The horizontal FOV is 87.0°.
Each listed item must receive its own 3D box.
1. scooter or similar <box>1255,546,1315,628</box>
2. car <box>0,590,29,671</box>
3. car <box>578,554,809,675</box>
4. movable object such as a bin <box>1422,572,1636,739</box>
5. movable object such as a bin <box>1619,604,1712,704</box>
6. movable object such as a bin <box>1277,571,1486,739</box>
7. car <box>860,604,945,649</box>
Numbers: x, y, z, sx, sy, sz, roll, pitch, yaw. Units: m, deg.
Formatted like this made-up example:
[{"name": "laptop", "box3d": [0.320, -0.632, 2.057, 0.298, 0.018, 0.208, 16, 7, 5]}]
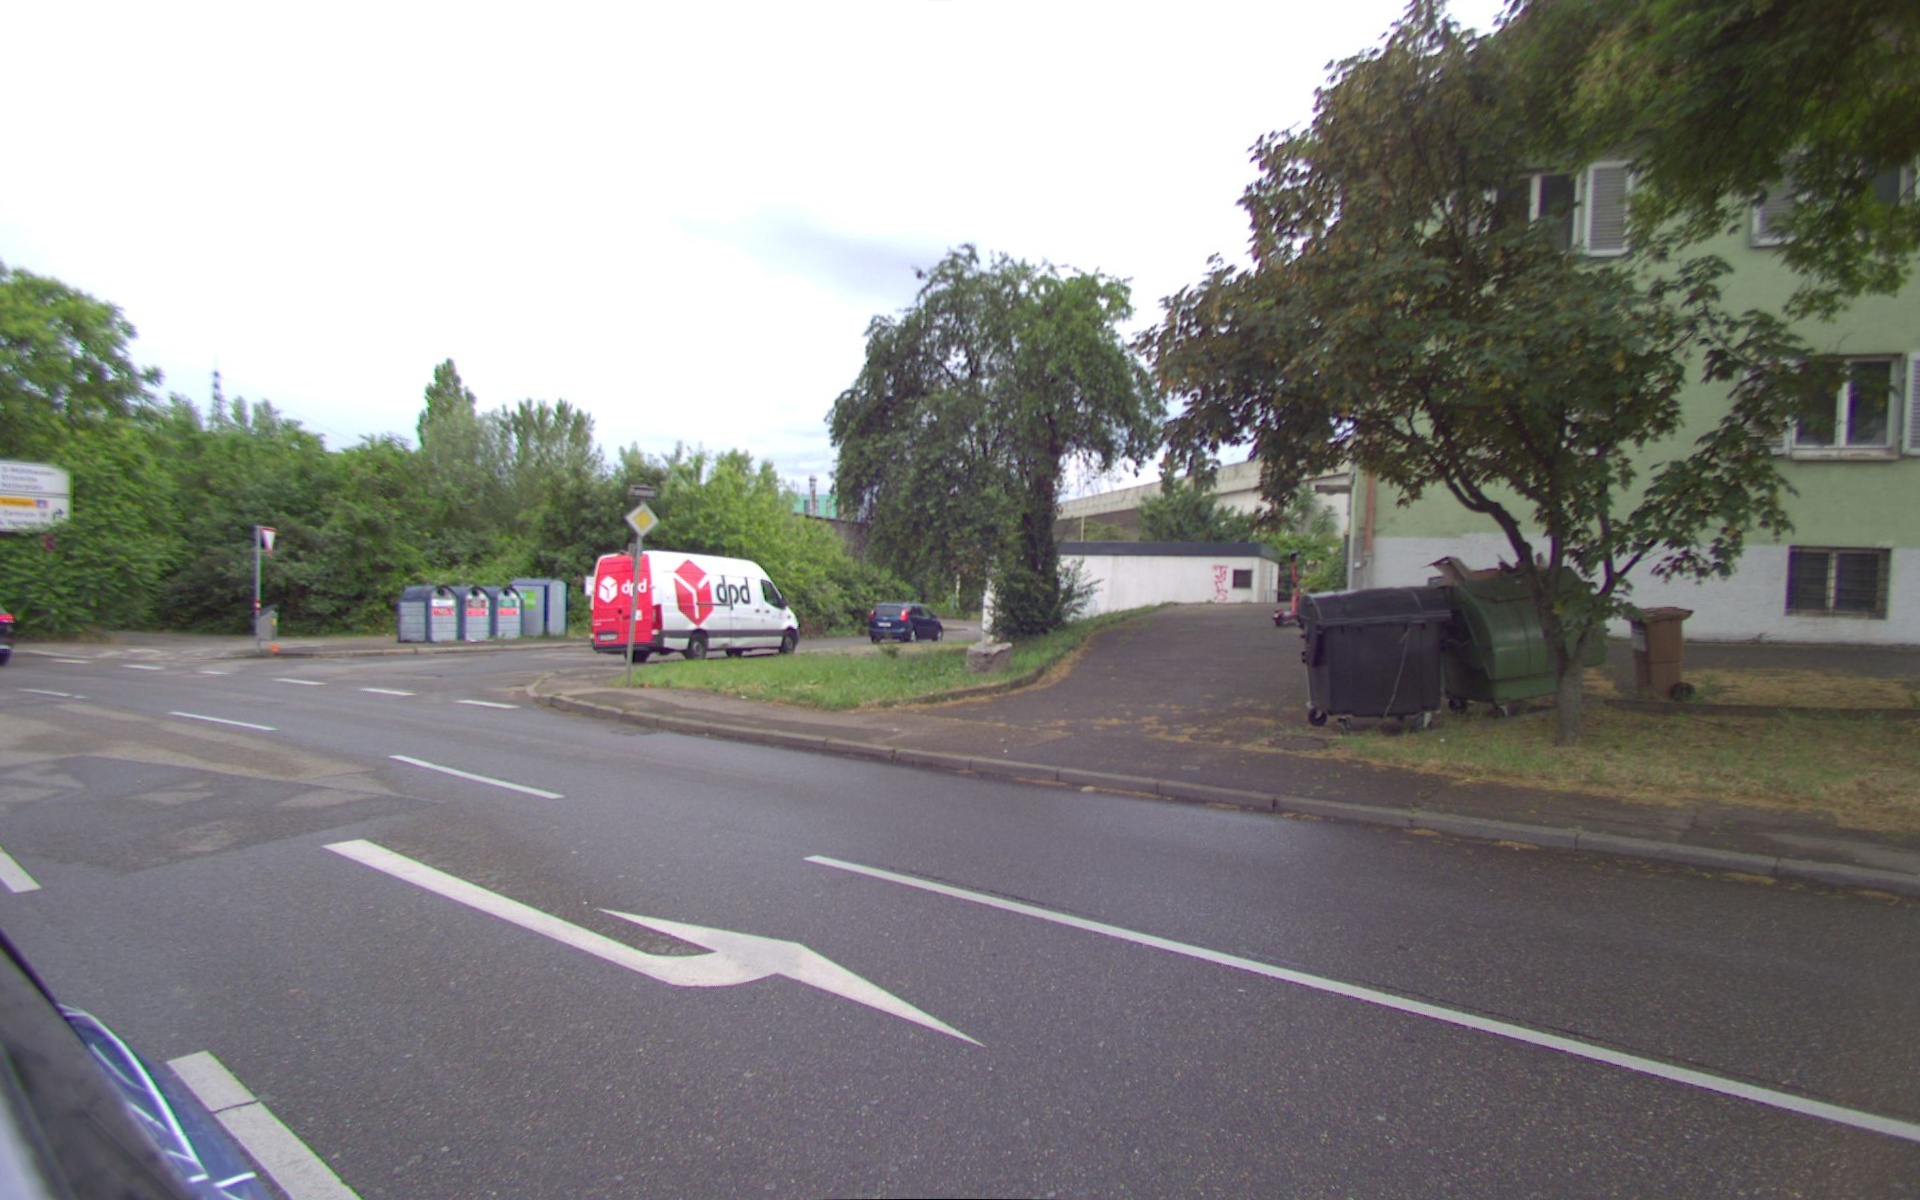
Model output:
[{"name": "scooter or similar", "box3d": [5.524, -0.240, 17.140, 0.529, 1.283, 1.507, 1, 4, 35]}, {"name": "car", "box3d": [-21.667, 0.636, 21.011, 4.408, 1.638, 1.905, 0, -1, 25]}, {"name": "car", "box3d": [-6.511, 0.299, 25.913, 2.246, 2.675, 6.777, 1, 0, 20]}, {"name": "movable object such as a bin", "box3d": [5.703, 0.512, 10.226, 1.440, 1.448, 1.102, -5, 3, -6]}, {"name": "movable object such as a bin", "box3d": [7.205, 0.534, 10.340, 0.723, 0.964, 0.551, 1, 0, 41]}, {"name": "movable object such as a bin", "box3d": [4.248, 0.502, 10.335, 1.440, 1.448, 1.296, -5, 3, -6]}, {"name": "car", "box3d": [-2.230, 0.996, 40.403, 1.984, 1.642, 4.228, 1, 1, 18]}]
